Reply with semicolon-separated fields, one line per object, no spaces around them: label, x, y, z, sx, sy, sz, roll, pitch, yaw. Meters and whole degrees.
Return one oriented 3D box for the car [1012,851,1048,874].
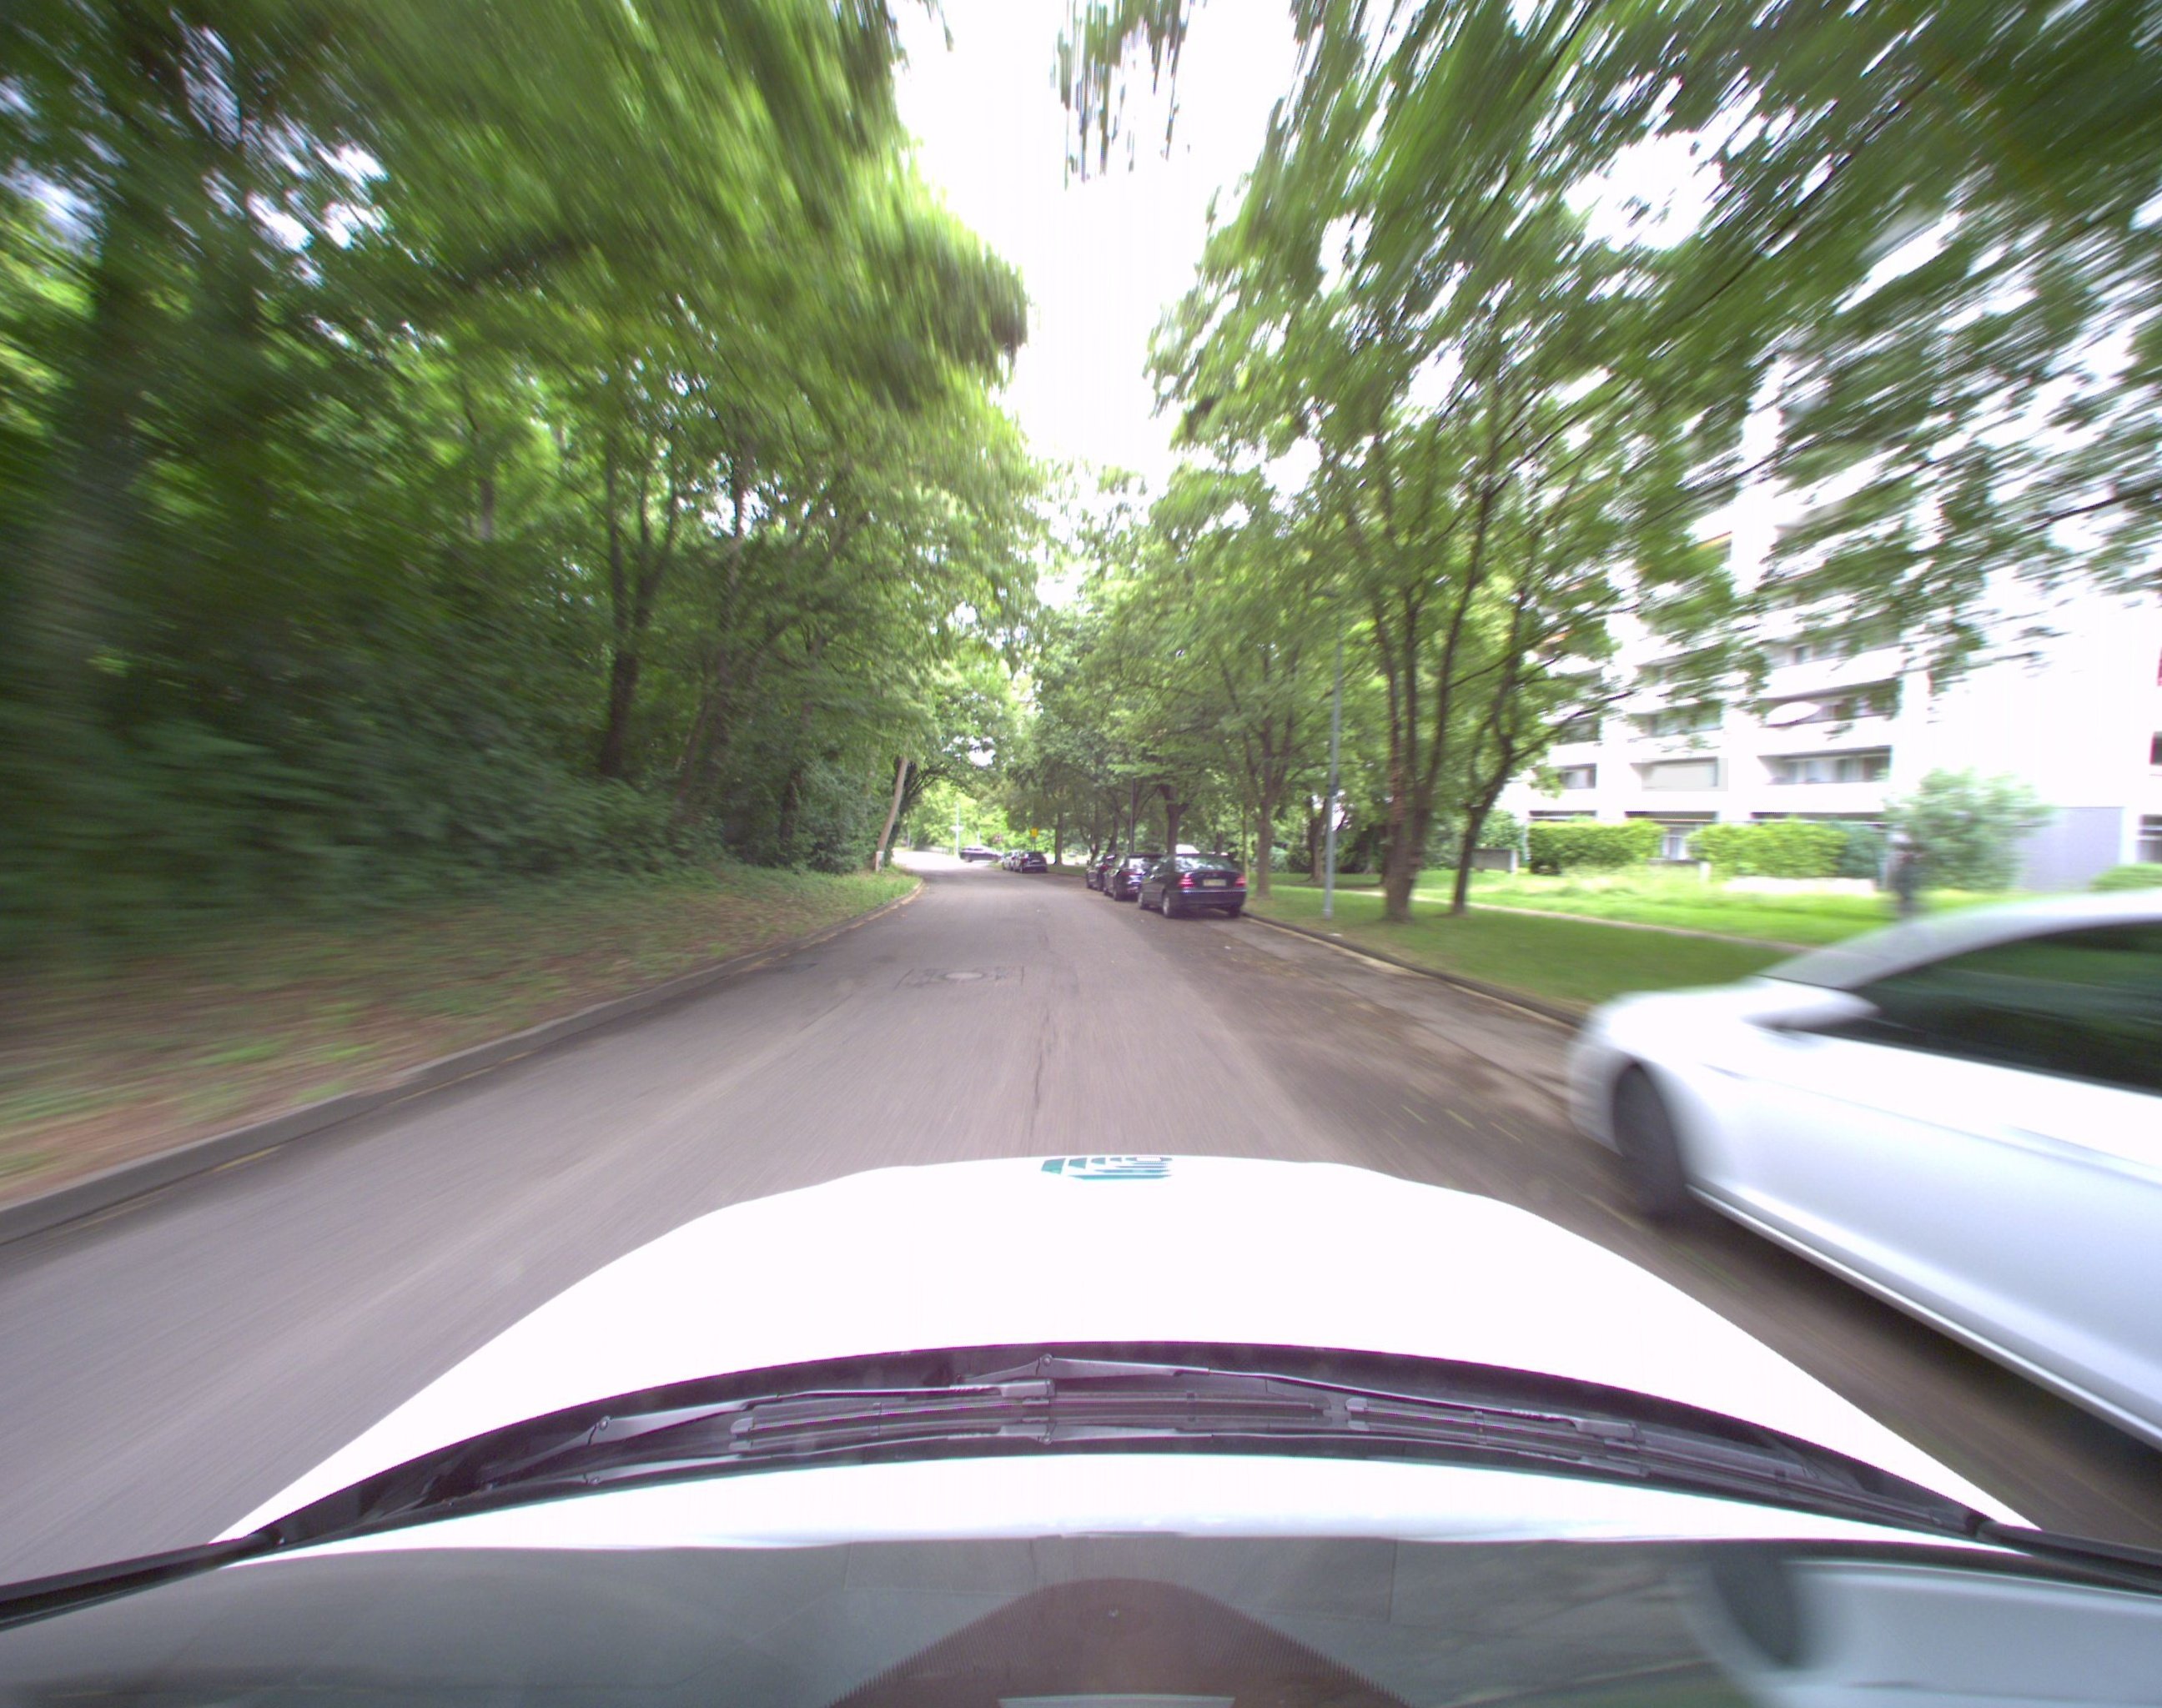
car;-3.557;0.536;55.942;1.776;1.522;4.164;0;0;-13

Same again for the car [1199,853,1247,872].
car;14.167;0.823;81.277;4.392;1.848;1.828;1;1;-7

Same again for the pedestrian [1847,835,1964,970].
pedestrian;10.503;0.586;10.400;0.581;1.652;0.869;0;0;-11

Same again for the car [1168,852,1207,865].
car;12.629;0.576;96.562;4.207;1.498;1.793;0;0;-11

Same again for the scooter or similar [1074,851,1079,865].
scooter or similar;-0.452;0.385;78.138;0.283;1.286;1.103;1;0;-13

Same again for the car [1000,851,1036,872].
car;-4.700;0.524;60.187;1.779;1.522;3.757;0;0;-19

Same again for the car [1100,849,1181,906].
car;1.736;0.646;25.335;1.909;1.611;4.728;0;0;-4

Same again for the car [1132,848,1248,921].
car;2.404;0.620;19.042;1.588;1.465;4.304;0;1;-8

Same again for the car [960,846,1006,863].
car;-9.647;0.064;80.529;4.204;1.685;1.800;0;0;2

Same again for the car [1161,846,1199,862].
car;12.082;-0.018;99.509;4.207;2.013;1.993;0;0;-11

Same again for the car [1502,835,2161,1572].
car;3.011;0.704;2.089;1.684;1.482;4.104;0;0;-1

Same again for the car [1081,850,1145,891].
car;1.153;0.574;31.074;1.682;1.464;3.886;0;0;-9
